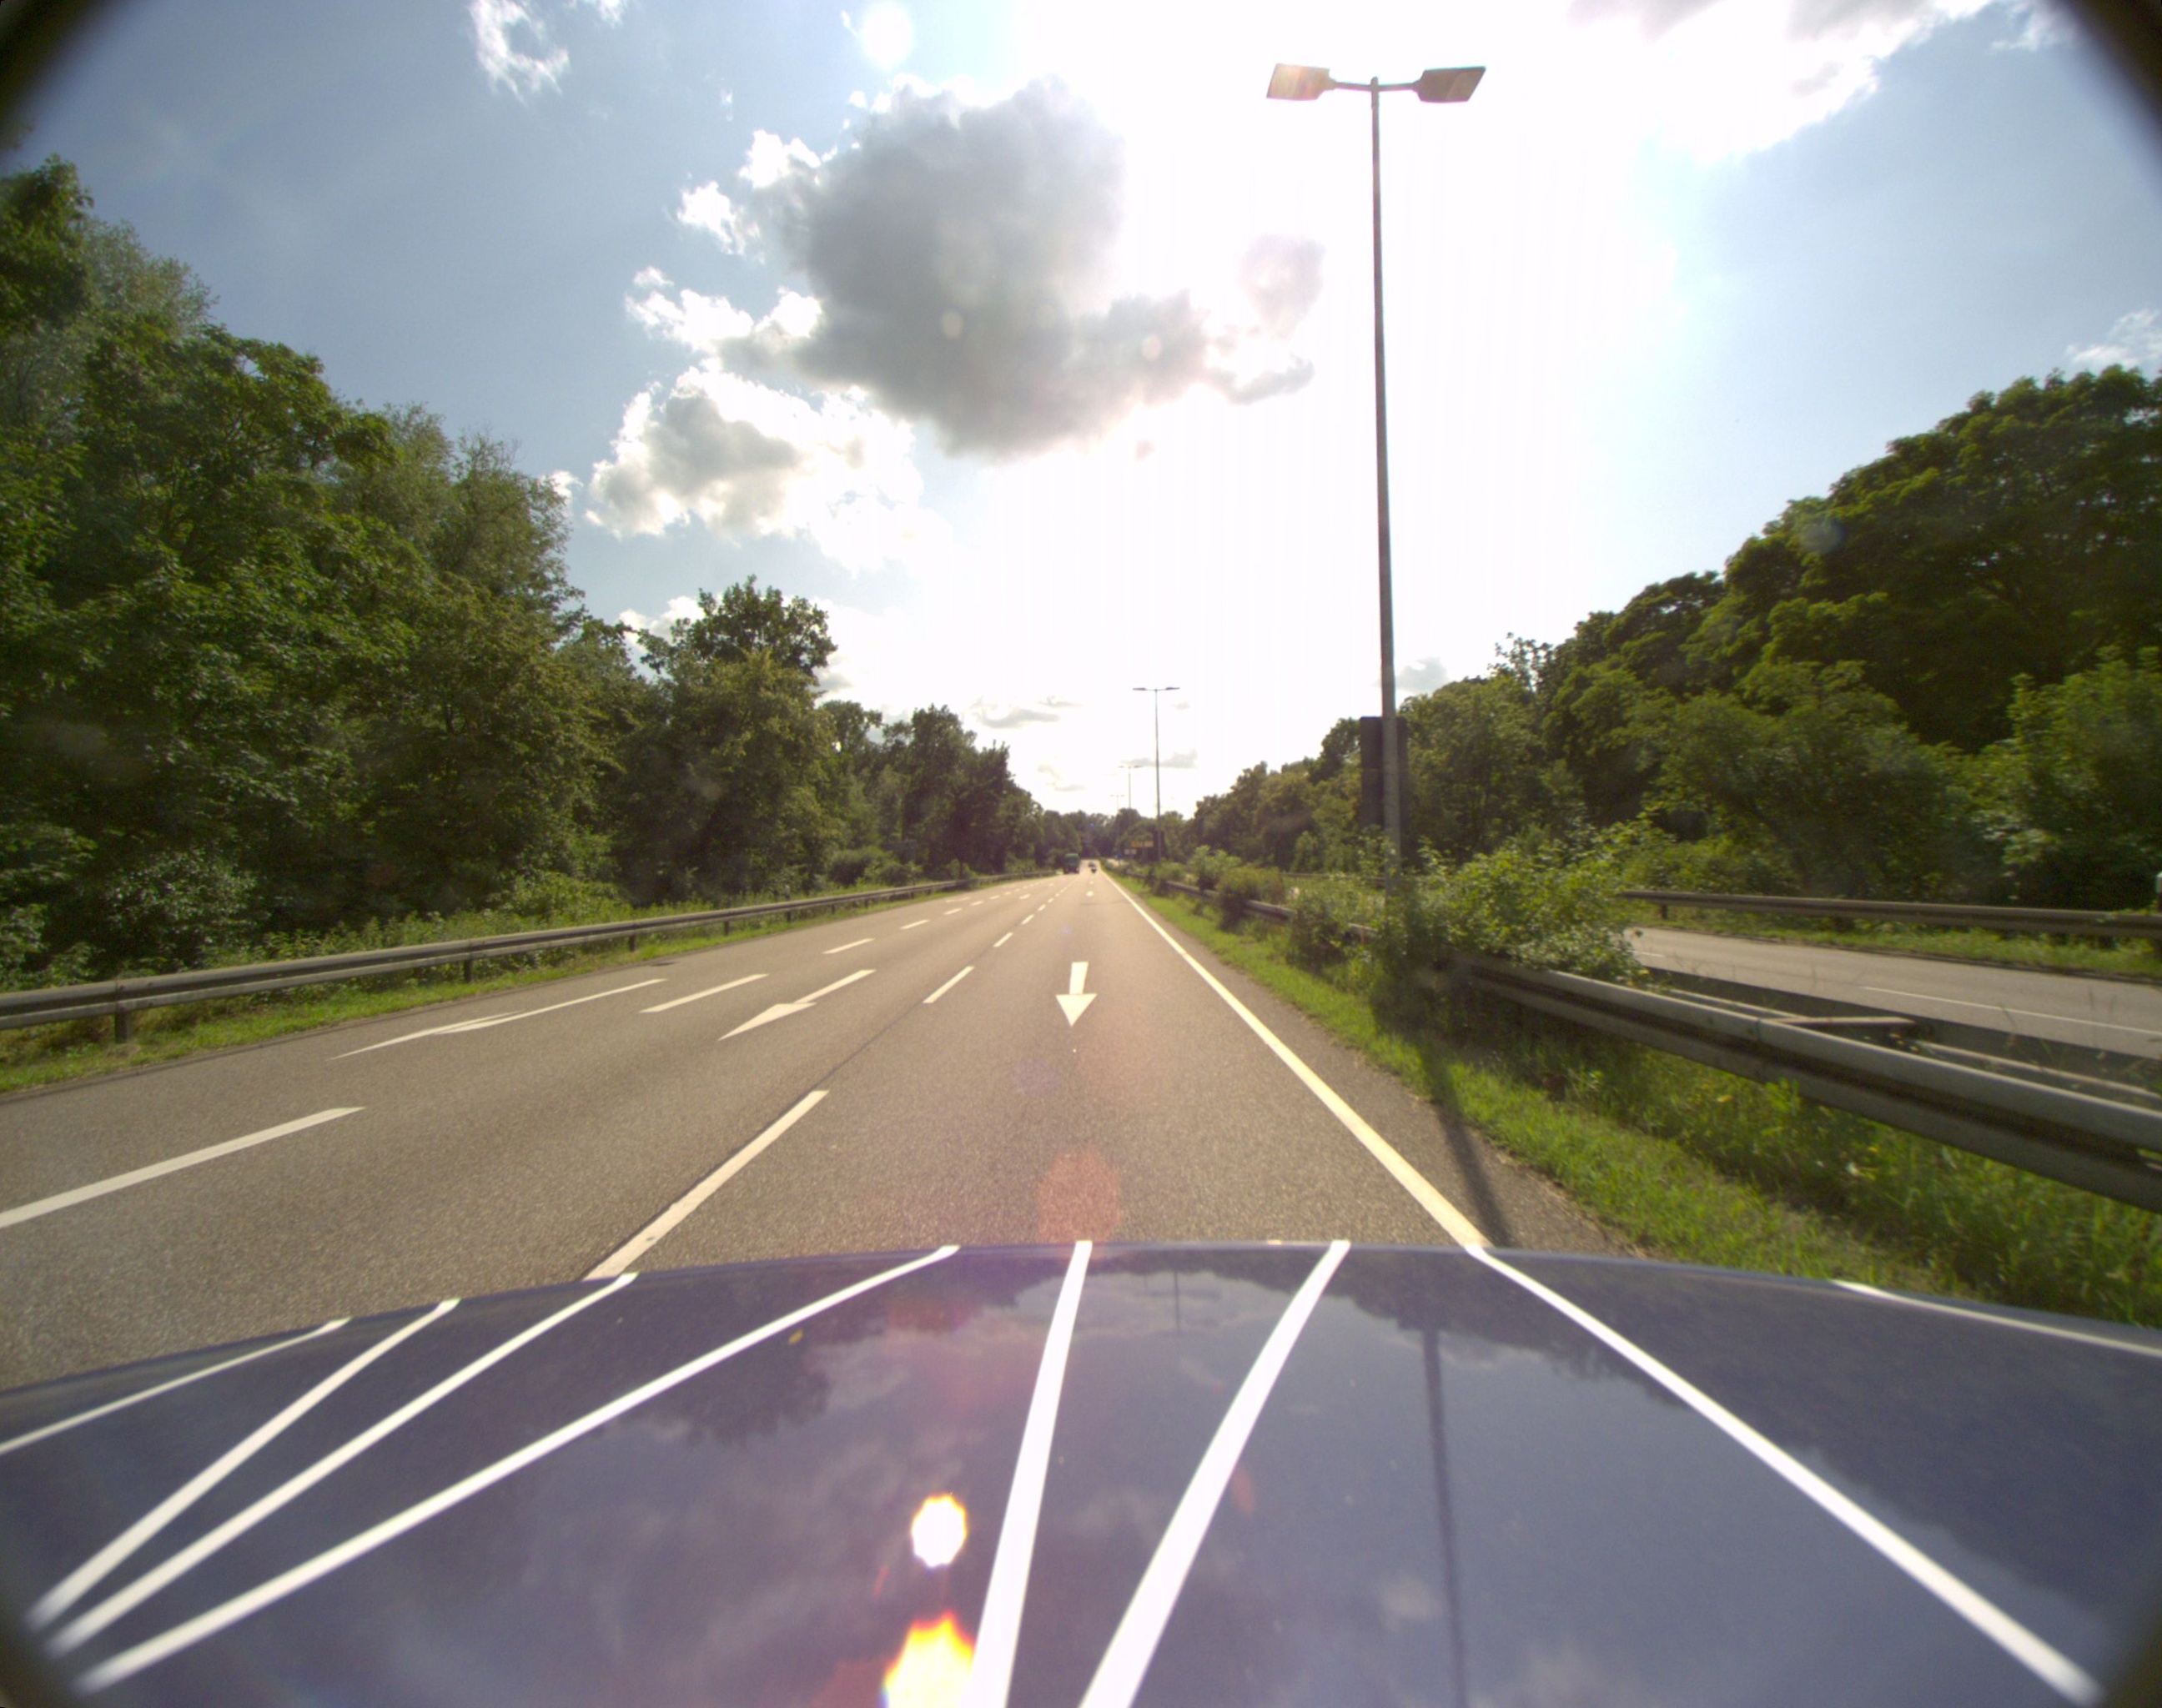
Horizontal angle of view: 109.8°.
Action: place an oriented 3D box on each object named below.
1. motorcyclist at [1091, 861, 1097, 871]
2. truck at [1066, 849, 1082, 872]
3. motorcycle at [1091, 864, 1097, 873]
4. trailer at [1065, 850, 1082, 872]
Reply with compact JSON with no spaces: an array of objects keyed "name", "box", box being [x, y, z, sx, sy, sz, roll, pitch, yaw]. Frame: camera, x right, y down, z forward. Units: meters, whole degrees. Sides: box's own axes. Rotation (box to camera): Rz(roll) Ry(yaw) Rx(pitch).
[{"name":"motorcyclist","box":[2.068,1.942,119.919,0.939,1.581,1.083,-1,-1,0]},{"name":"truck","box":[-1.237,1.257,134.685,2.592,3.870,6.061,-2,-1,-2]},{"name":"motorcycle","box":[2.069,2.262,120.015,0.939,1.375,2.370,-1,-1,0]},{"name":"trailer","box":[-1.472,1.413,141.363,2.592,3.870,14.502,-2,-1,-2]}]
